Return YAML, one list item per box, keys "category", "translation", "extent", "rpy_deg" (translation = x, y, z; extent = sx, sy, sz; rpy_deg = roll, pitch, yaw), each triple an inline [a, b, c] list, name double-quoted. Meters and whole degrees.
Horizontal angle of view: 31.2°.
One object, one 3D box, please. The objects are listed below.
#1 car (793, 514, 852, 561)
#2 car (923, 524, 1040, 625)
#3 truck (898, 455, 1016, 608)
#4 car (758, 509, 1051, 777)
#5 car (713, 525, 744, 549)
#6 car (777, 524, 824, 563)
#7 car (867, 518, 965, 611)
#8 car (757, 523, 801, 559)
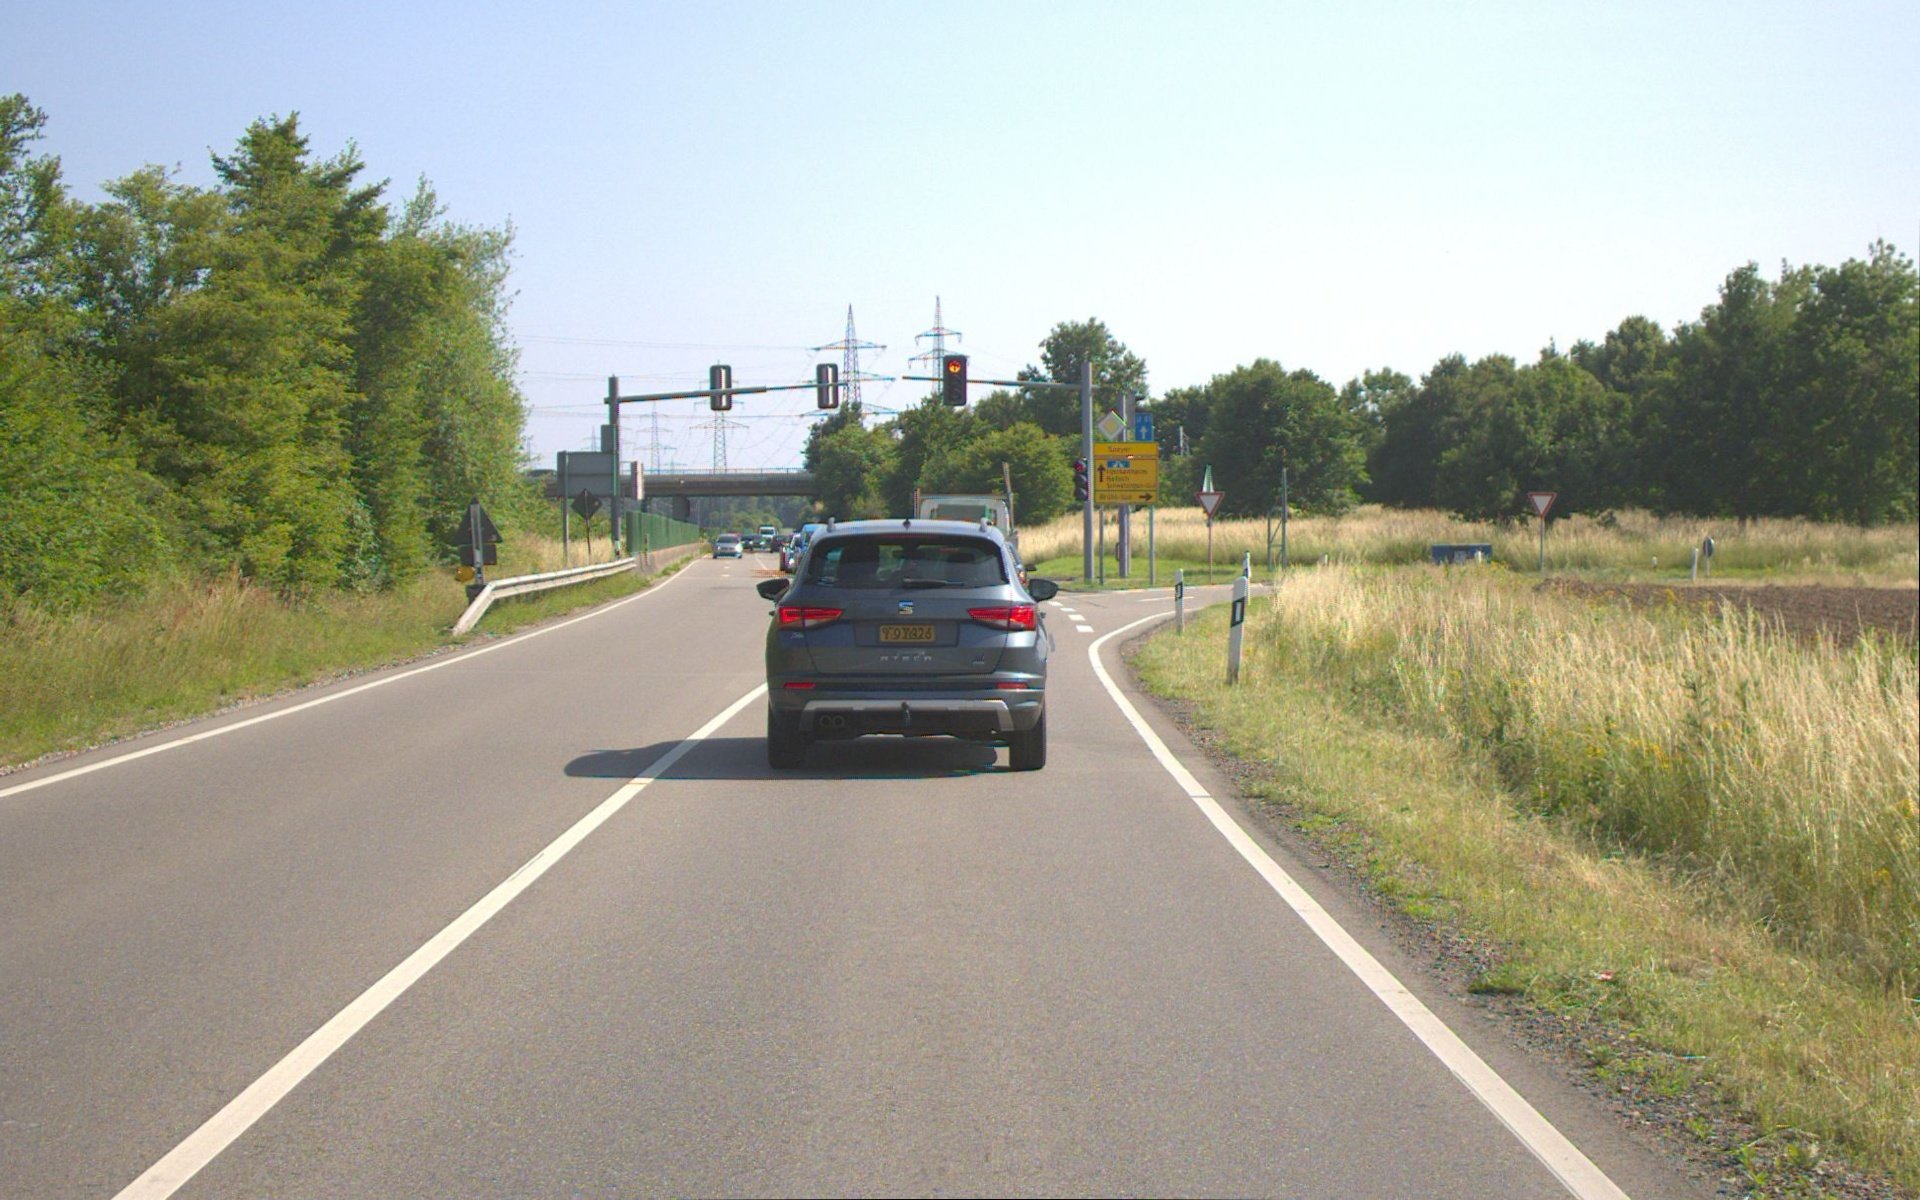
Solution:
- category: "car"
  translation: [-4.657, -2.116, 116.111]
  extent: [1.816, 1.535, 4.001]
  rpy_deg: [-1, 1, -4]
- category: "car"
  translation: [0.316, -0.438, 55.515]
  extent: [1.785, 1.538, 4.001]
  rpy_deg: [0, 2, -1]
- category: "truck"
  translation: [-0.054, -1.419, 71.850]
  extent: [2.337, 3.055, 5.810]
  rpy_deg: [0, 1, 0]
- category: "car"
  translation: [-0.372, 0.209, 23.017]
  extent: [1.785, 1.623, 4.001]
  rpy_deg: [0, 2, -1]
- category: "car"
  translation: [-14.084, -3.853, 209.254]
  extent: [1.824, 1.426, 4.001]
  rpy_deg: [-1, 1, -5]
- category: "car"
  translation: [-5.987, -2.121, 128.641]
  extent: [1.684, 1.375, 3.534]
  rpy_deg: [0, 2, -4]
- category: "car"
  translation: [-0.836, -0.689, 64.332]
  extent: [1.785, 1.670, 4.001]
  rpy_deg: [0, 2, -1]
- category: "car"
  translation: [-7.193, -2.340, 136.295]
  extent: [1.684, 1.375, 3.534]
  rpy_deg: [0, 2, -4]
